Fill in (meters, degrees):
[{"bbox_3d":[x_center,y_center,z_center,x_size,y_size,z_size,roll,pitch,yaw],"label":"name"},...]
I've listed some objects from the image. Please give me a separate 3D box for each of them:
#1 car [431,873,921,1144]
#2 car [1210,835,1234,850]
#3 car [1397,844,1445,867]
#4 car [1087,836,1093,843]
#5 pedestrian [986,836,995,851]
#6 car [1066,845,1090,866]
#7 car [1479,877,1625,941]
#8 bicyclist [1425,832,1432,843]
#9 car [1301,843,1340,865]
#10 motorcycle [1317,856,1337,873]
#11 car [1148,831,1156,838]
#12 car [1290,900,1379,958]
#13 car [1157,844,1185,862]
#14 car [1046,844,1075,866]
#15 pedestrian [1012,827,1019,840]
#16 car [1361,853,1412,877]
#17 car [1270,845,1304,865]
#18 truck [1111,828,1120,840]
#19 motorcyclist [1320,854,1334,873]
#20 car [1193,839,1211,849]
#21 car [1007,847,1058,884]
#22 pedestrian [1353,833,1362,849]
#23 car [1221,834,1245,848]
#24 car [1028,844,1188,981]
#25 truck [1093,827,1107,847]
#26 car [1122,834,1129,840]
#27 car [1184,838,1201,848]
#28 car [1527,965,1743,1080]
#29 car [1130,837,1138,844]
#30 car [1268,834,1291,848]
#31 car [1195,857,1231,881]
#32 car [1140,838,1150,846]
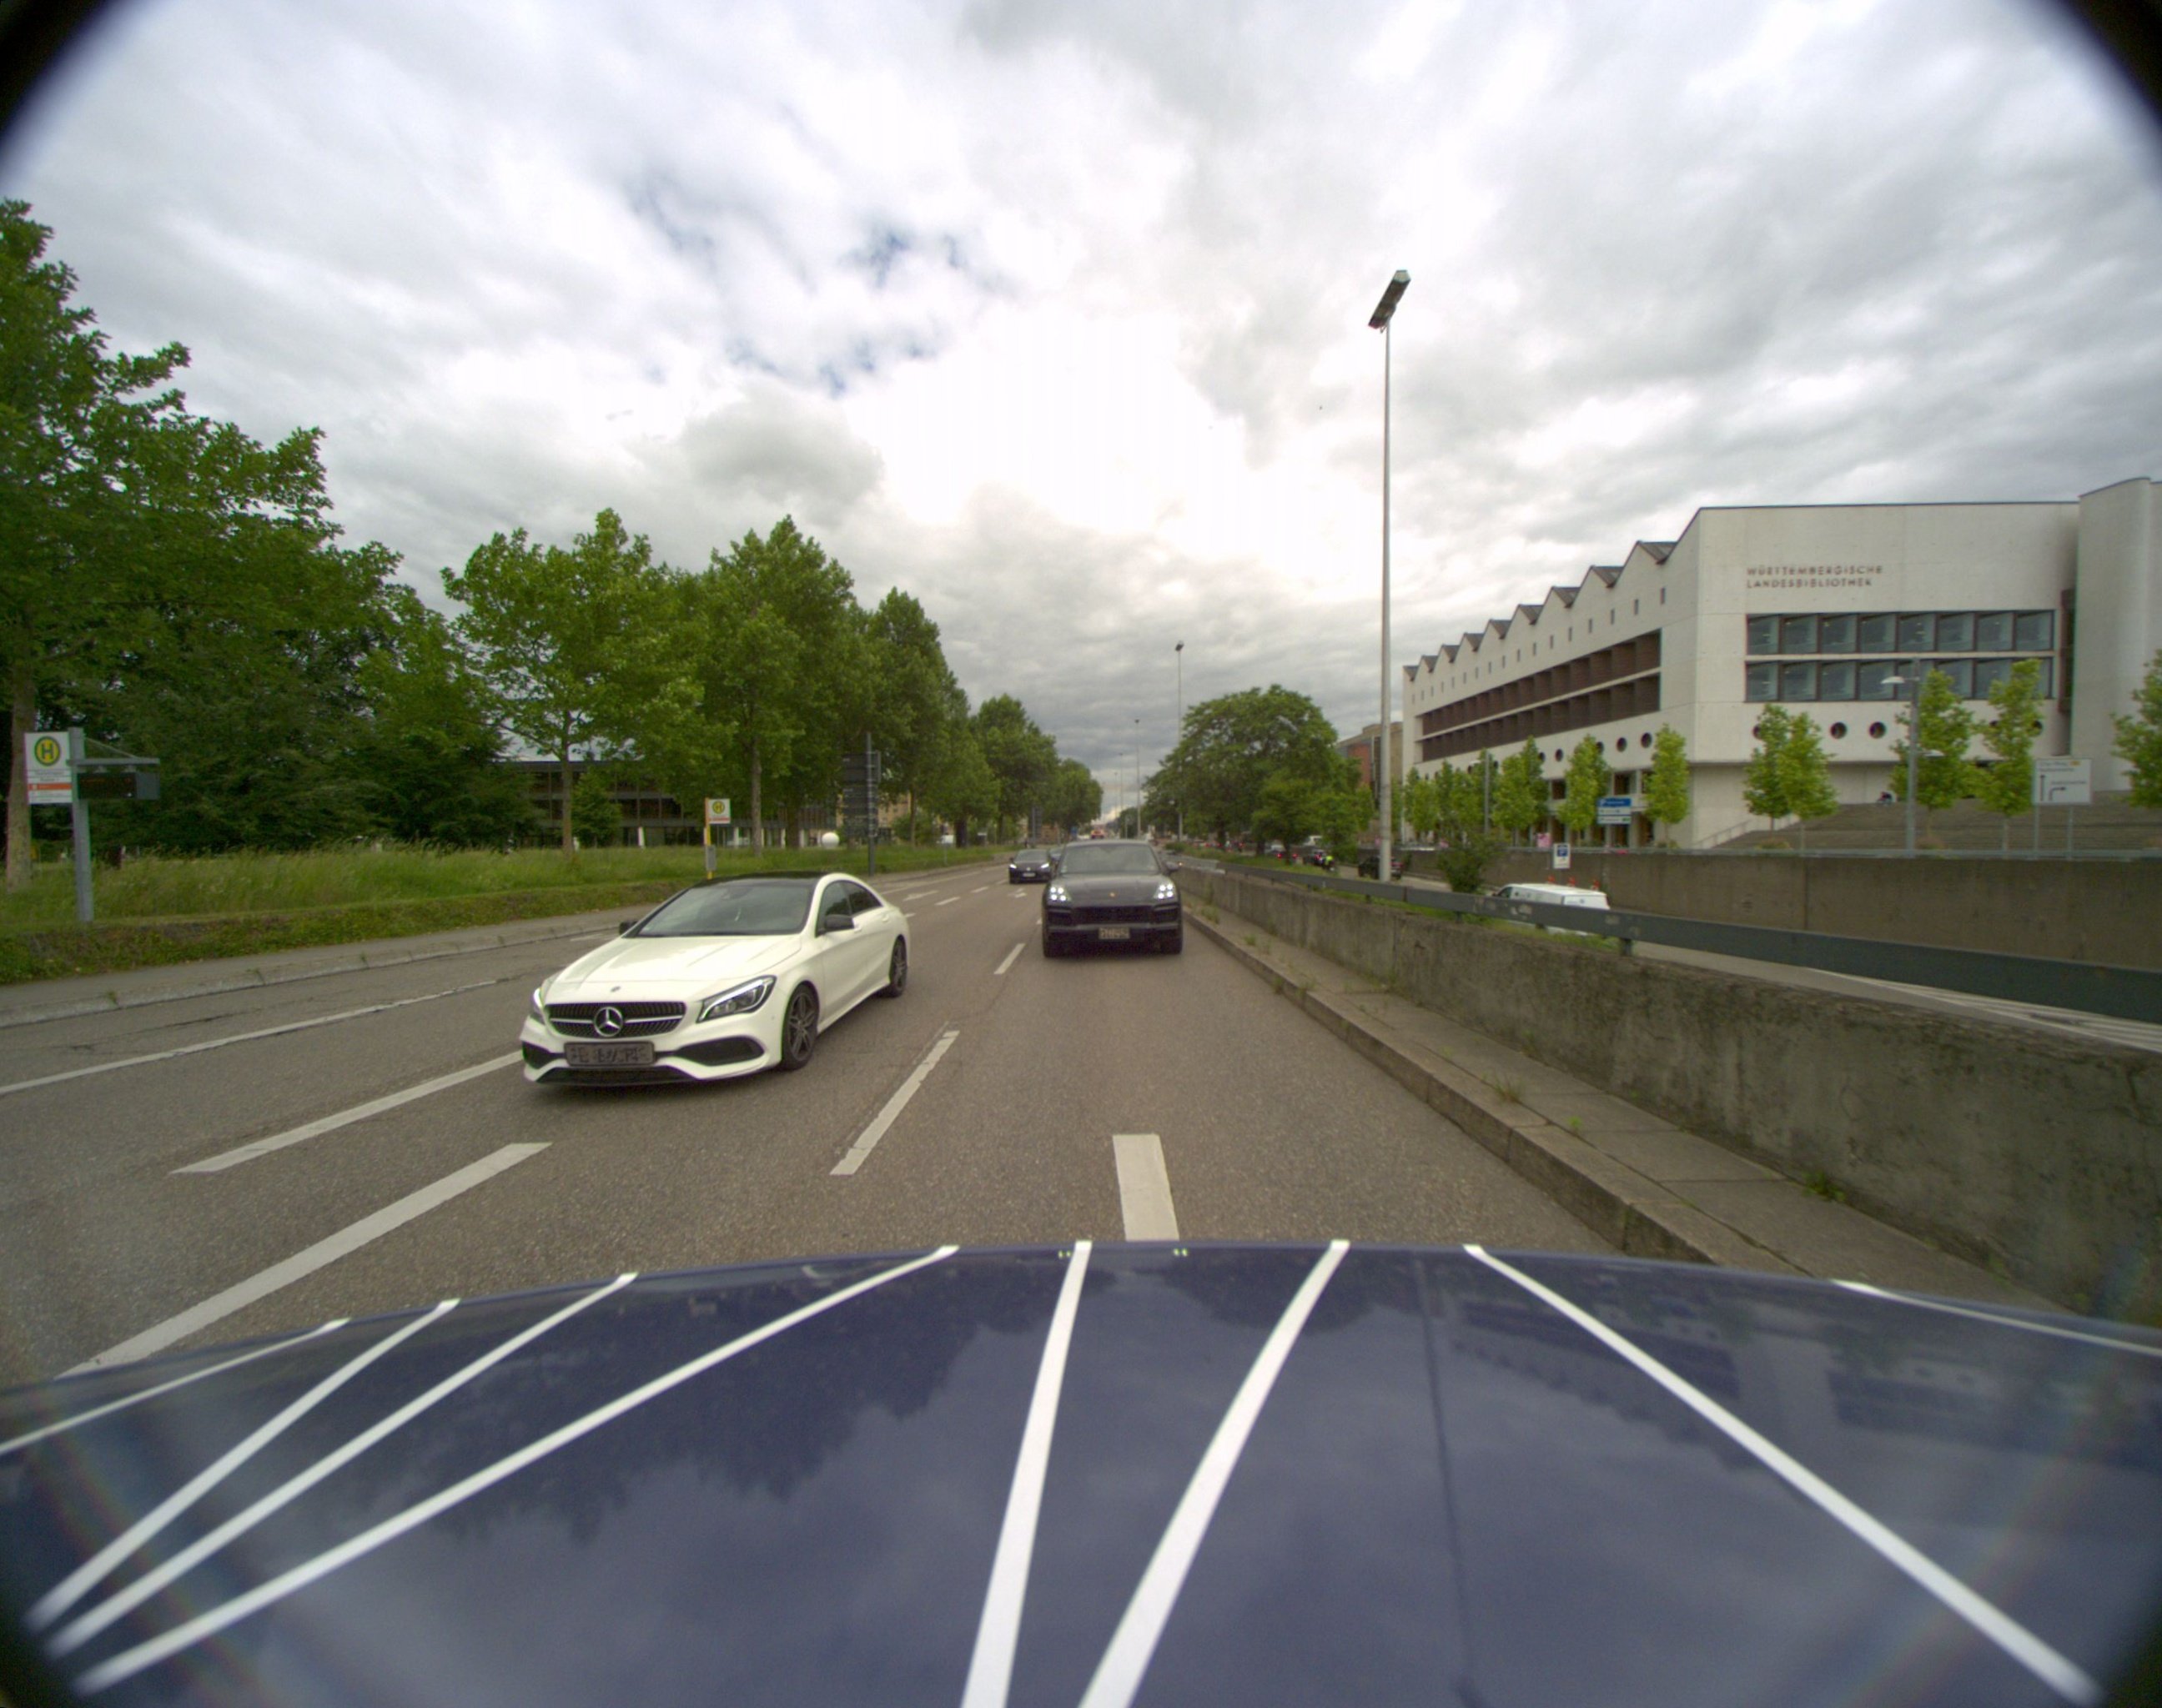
[{"bbox_3d":[-2.923,0.996,6.843,1.799,1.412,4.526,-1,1,2],"label":"car"},{"bbox_3d":[16.515,-1.407,89.254,1.998,1.665,4.516,2,1,0],"label":"car"},{"bbox_3d":[27.242,0.086,61.055,1.998,1.753,3.999,2,1,0],"label":"car"},{"bbox_3d":[2.575,-4.209,222.169,1.693,2.002,3.999,-3,2,2],"label":"car"},{"bbox_3d":[-12.189,-1.375,102.542,0.892,2.002,1.181,-3,2,2],"label":"pedestrian"},{"bbox_3d":[-0.245,0.132,71.009,2.021,1.823,4.804,-1,1,2],"label":"car"},{"bbox_3d":[17.272,1.948,28.291,1.999,1.630,5.247,5,3,-1],"label":"car"},{"bbox_3d":[37.306,-1.756,81.520,0.403,1.154,0.643,-3,2,-1],"label":"bicyclist"},{"bbox_3d":[20.898,-0.068,66.545,1.875,1.604,4.387,0,4,-2],"label":"car"},{"bbox_3d":[17.897,0.749,55.317,0.687,1.092,2.049,3,4,0],"label":"motorcycle"},{"bbox_3d":[18.072,-5.011,193.656,1.609,1.844,3.999,-3,2,1],"label":"car"},{"bbox_3d":[8.315,2.426,25.299,1.559,1.406,4.091,-1,1,0],"label":"car"},{"bbox_3d":[7.345,-0.120,62.489,1.787,1.406,4.091,-1,1,0],"label":"car"},{"bbox_3d":[-1.386,0.037,53.021,1.805,1.426,4.015,-1,1,2],"label":"car"},{"bbox_3d":[-10.484,-3.305,122.118,0.892,2.002,1.181,-3,2,2],"label":"pedestrian"},{"bbox_3d":[21.077,0.734,52.587,1.810,1.321,4.002,0,4,0],"label":"car"},{"bbox_3d":[18.073,0.058,66.769,1.779,1.481,4.143,0,4,0],"label":"car"},{"bbox_3d":[10.572,-6.201,233.442,2.576,3.288,8.079,-3,2,2],"label":"truck"},{"bbox_3d":[17.896,0.700,55.283,0.671,1.345,0.717,3,4,0],"label":"motorcyclist"},{"bbox_3d":[17.029,-1.448,107.085,1.998,1.390,3.999,2,1,0],"label":"car"},{"bbox_3d":[-2.091,0.455,33.787,1.852,1.481,4.092,-1,1,2],"label":"car"},{"bbox_3d":[36.084,-1.670,99.209,0.722,2.002,1.016,-3,2,2],"label":"pedestrian"},{"bbox_3d":[20.012,-1.758,100.135,2.161,1.636,4.515,2,3,-1],"label":"car"},{"bbox_3d":[0.453,0.685,11.569,1.904,1.581,4.732,-1,1,3],"label":"car"},{"bbox_3d":[3.666,-3.257,145.200,2.357,3.518,9.423,-3,2,2],"label":"truck"},{"bbox_3d":[10.692,-4.021,183.125,1.372,1.389,3.722,-1,-1,-1],"label":"car"},{"bbox_3d":[17.147,-1.741,117.062,1.998,1.390,3.999,2,1,0],"label":"car"},{"bbox_3d":[11.426,3.407,16.061,1.559,1.406,4.091,-1,1,0],"label":"car"},{"bbox_3d":[10.857,-2.786,155.717,1.372,1.390,3.721,2,1,0],"label":"car"},{"bbox_3d":[25.917,-1.709,99.347,1.998,1.753,3.999,2,1,0],"label":"car"},{"bbox_3d":[8.768,0.979,50.683,1.657,1.406,4.091,-1,1,0],"label":"car"},{"bbox_3d":[11.575,-2.223,137.634,1.372,1.390,3.721,2,1,0],"label":"car"}]
